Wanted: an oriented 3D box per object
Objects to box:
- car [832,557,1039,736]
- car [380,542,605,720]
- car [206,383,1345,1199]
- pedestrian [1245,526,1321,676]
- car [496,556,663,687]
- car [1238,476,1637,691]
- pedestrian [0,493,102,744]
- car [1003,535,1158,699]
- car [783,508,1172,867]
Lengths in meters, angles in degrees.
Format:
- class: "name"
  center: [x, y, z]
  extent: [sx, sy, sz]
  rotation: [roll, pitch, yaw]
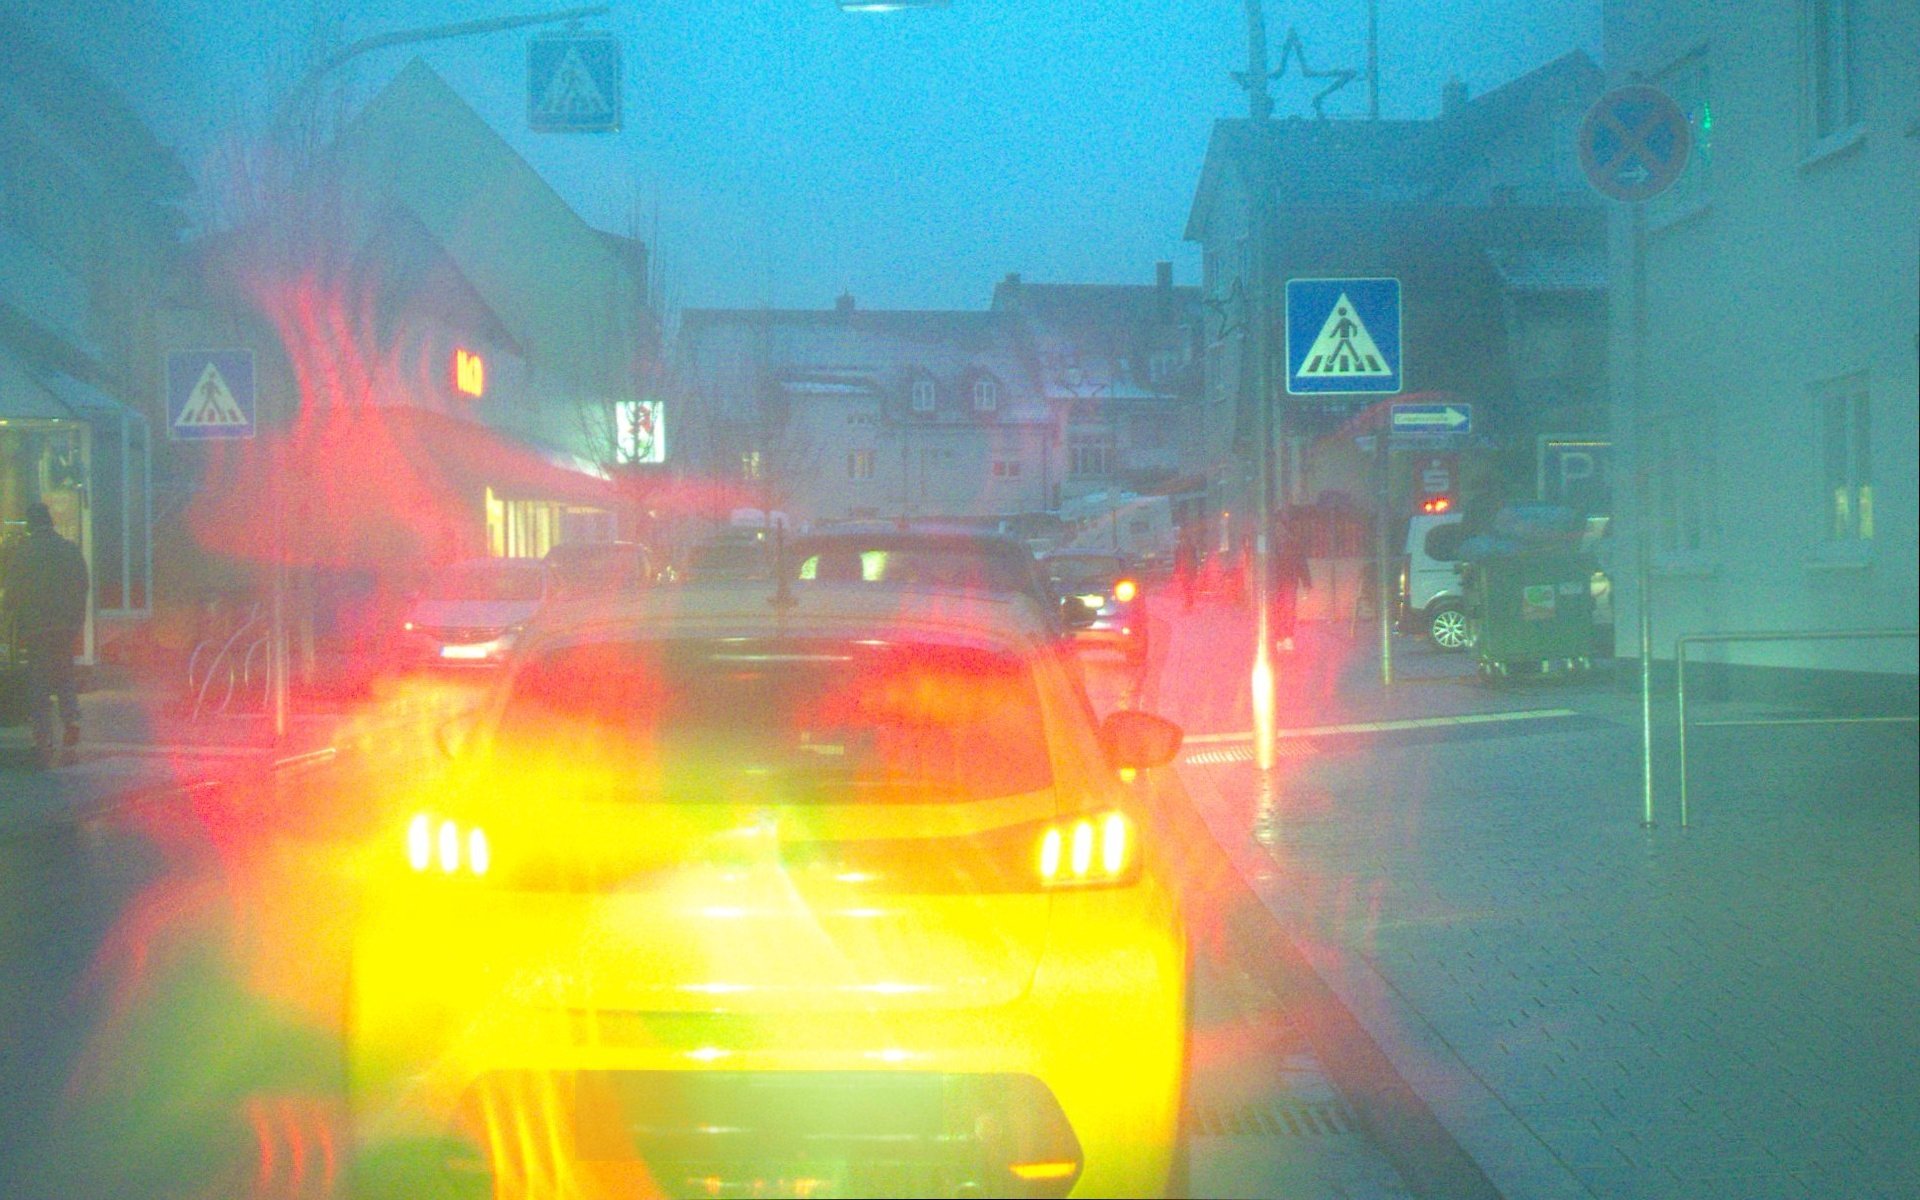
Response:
- class: "car"
  center: [-0.164, 0.388, 33.048]
  extent: [1.827, 1.596, 4.581]
  rotation: [0, 1, 2]
- class: "car"
  center: [-5.529, 0.327, 41.172]
  extent: [1.993, 2.007, 4.361]
  rotation: [0, 1, 1]
- class: "car"
  center: [-0.232, 0.466, 8.365]
  extent: [1.994, 1.789, 4.648]
  rotation: [0, 1, 2]
- class: "pedestrian"
  center: [4.385, 0.005, 46.742]
  extent: [1.016, 2.007, 1.275]
  rotation: [0, 1, 5]
- class: "car"
  center: [-5.280, 0.263, 48.171]
  extent: [1.993, 1.746, 4.362]
  rotation: [0, 1, -2]
- class: "car"
  center: [4.594, -0.162, 33.495]
  extent: [3.697, 2.007, 1.689]
  rotation: [1, 0, 3]
- class: "pedestrian"
  center: [-6.932, 0.131, 26.091]
  extent: [0.703, 1.870, 0.617]
  rotation: [1, 1, -5]
- class: "car"
  center: [1.540, 0.177, 45.115]
  extent: [1.641, 2.007, 4.001]
  rotation: [-2, 1, -3]
- class: "car"
  center: [0.111, 0.394, 18.019]
  extent: [1.798, 1.656, 4.000]
  rotation: [0, 0, 1]
